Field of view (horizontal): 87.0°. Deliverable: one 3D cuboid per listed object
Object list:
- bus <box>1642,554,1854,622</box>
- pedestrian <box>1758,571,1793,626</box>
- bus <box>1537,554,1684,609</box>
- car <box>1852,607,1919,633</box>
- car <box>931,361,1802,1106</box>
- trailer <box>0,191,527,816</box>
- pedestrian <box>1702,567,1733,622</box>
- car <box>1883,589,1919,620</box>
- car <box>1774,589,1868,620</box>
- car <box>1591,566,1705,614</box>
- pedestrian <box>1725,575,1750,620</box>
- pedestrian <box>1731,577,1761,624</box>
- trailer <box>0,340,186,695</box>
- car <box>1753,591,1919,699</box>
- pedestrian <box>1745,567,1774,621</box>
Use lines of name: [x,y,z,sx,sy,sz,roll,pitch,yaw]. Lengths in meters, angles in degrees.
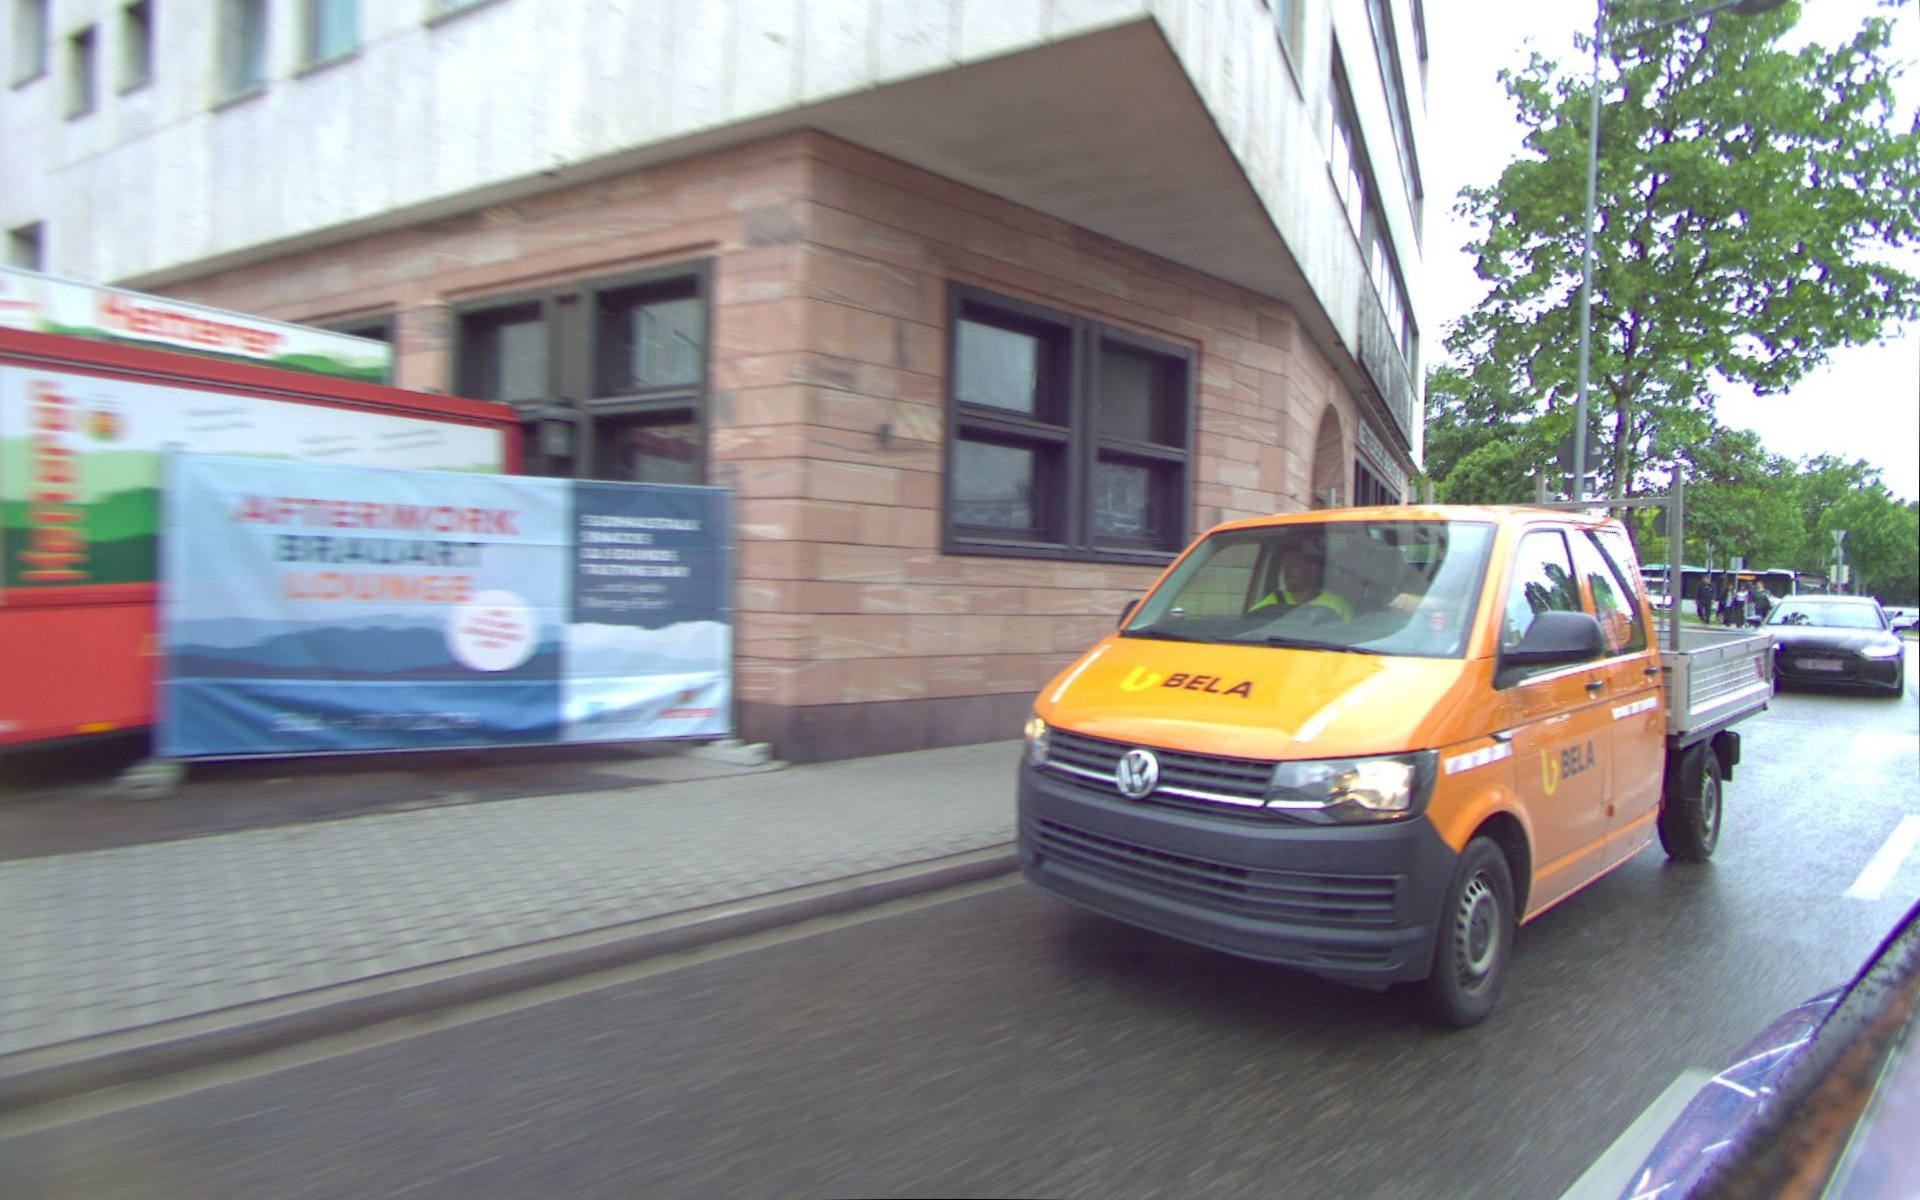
bus: [42.949,-0.825,55.752,2.649,3.256,9.681,3,2,-11]
pedestrian: [28.786,-0.058,35.734,0.737,1.852,0.687,6,3,31]
bus: [41.274,-1.286,64.679,2.632,3.219,8.578,1,2,-11]
car: [60.797,1.321,65.978,4.173,1.458,1.861,2,1,-13]
car: [2.613,0.363,5.463,5.444,2.115,2.105,0,1,-41]
trailer: [-5.907,-0.557,6.286,2.608,3.215,5.671,2,2,24]
pedestrian: [24.779,-0.183,33.114,0.568,1.706,0.954,6,5,30]
car: [76.674,0.440,80.866,4.907,2.348,1.978,3,1,-16]
car: [46.444,0.231,54.688,1.557,1.469,3.576,3,1,-12]
car: [36.487,-0.622,53.961,2.217,2.261,6.333,2,2,6]
pedestrian: [30.622,-0.098,39.867,0.553,1.726,0.524,4,2,26]
pedestrian: [28.194,-0.006,36.318,0.597,1.618,0.699,5,4,29]
trailer: [-10.940,-0.788,8.899,2.725,3.348,6.013,2,1,28]
car: [14.439,0.625,16.646,1.891,1.421,4.296,5,4,41]
pedestrian: [31.148,-0.228,39.416,0.583,2.038,0.780,4,2,25]
